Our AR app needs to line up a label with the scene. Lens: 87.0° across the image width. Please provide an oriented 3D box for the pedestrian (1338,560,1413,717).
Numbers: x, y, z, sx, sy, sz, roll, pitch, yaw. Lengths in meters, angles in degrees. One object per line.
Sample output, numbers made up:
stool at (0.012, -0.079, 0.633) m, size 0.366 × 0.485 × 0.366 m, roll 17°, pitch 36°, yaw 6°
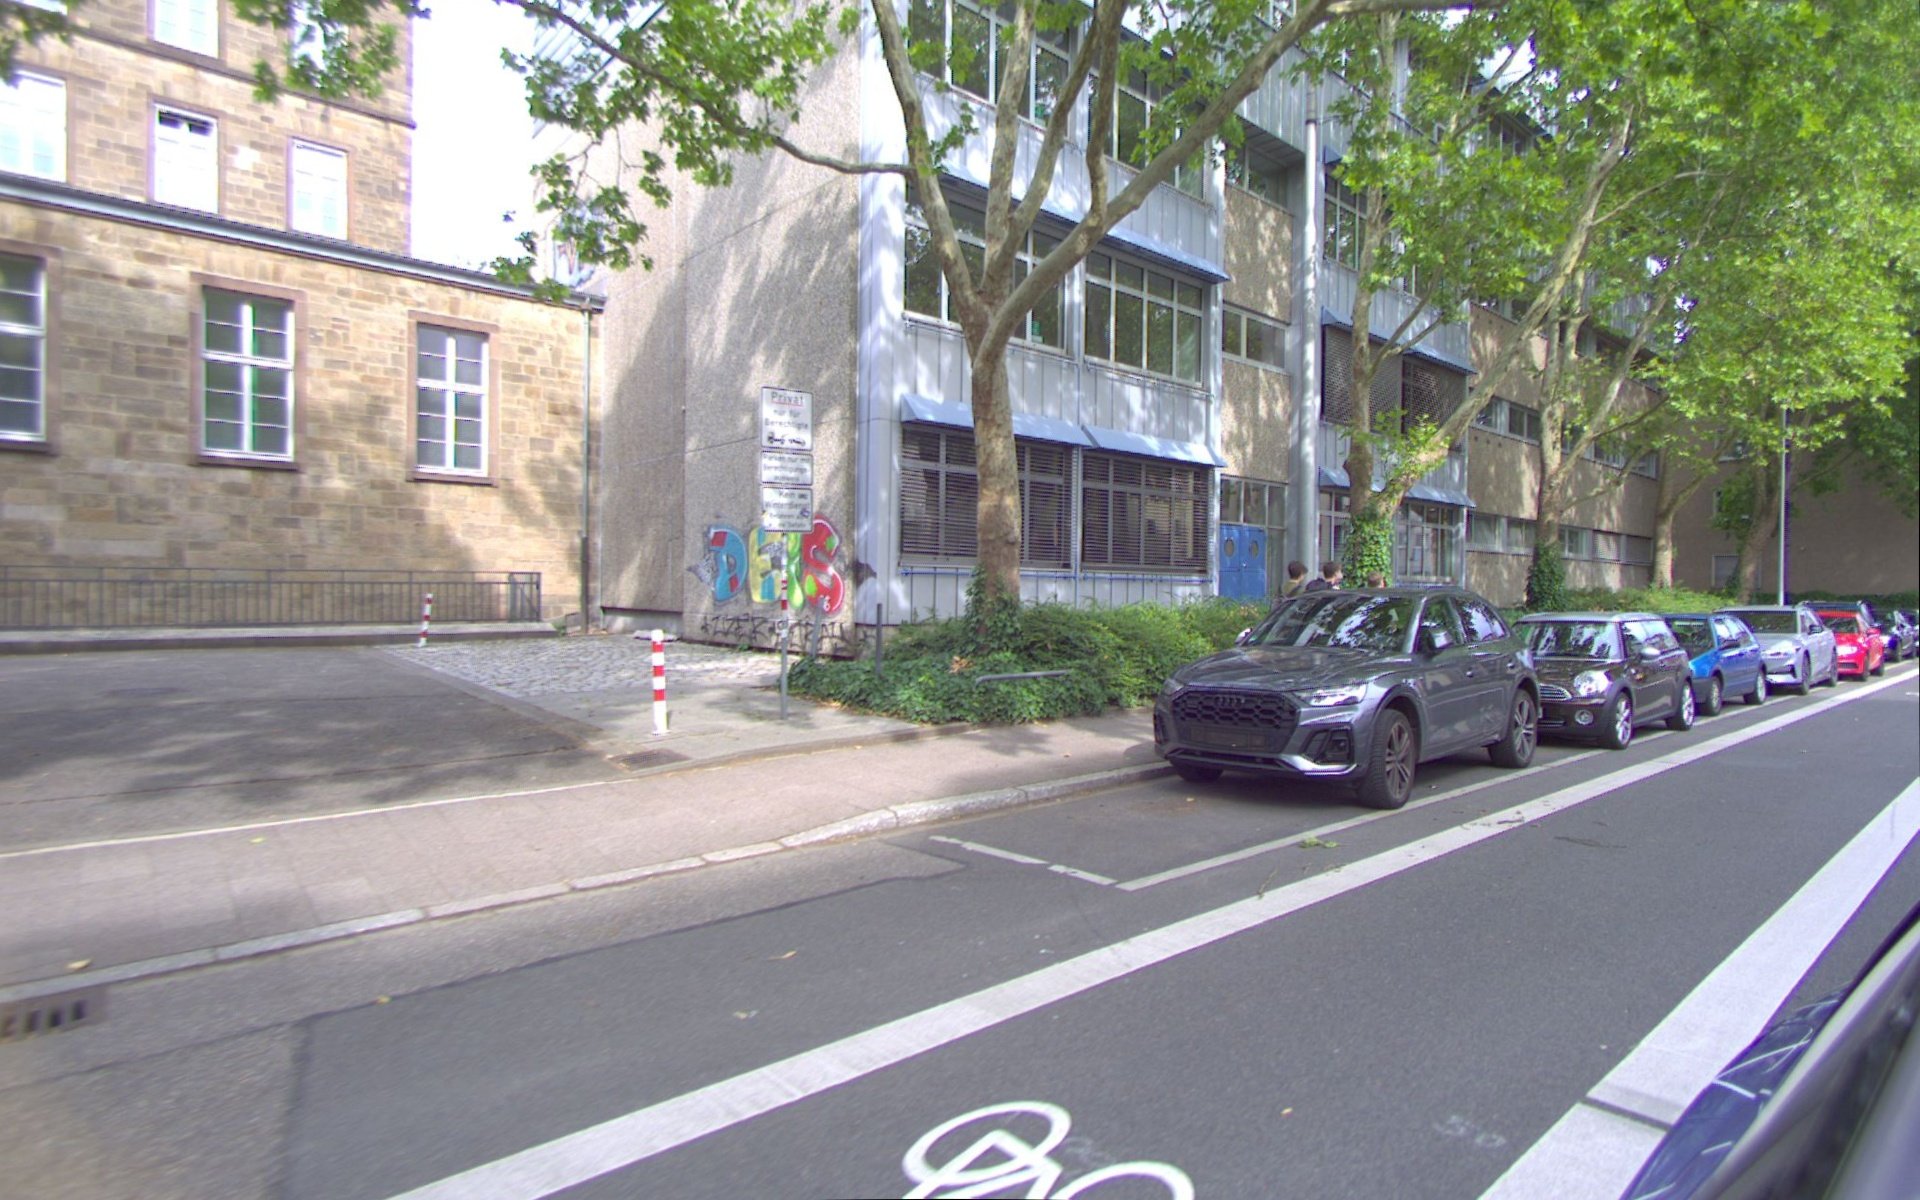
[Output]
pedestrian at (4.984, 0.439, 12.151) m, size 0.468 × 1.806 × 0.592 m, roll 0°, pitch 4°, yaw -42°

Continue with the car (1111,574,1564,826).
car at (3.464, 0.662, 8.828) m, size 4.405 × 1.642 × 1.923 m, roll 0°, pitch -1°, yaw -43°

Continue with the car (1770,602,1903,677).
car at (18.918, 0.783, 21.788) m, size 4.033 × 1.465 × 1.601 m, roll 0°, pitch -1°, yaw -41°

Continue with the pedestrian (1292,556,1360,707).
pedestrian at (4.535, 0.373, 12.554) m, size 0.518 × 1.806 × 0.502 m, roll 0°, pitch 4°, yaw -42°

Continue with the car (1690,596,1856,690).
car at (14.914, 0.703, 18.483) m, size 4.362 × 1.524 × 1.601 m, roll 0°, pitch -1°, yaw -41°

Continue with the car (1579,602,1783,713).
car at (10.849, 0.759, 15.127) m, size 3.887 × 1.441 × 1.601 m, roll 0°, pitch -1°, yaw -41°

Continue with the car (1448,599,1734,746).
car at (7.683, 0.727, 12.135) m, size 4.493 × 1.451 × 1.642 m, roll 0°, pitch -1°, yaw -41°

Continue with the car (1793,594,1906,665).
car at (22.822, 0.712, 25.930) m, size 3.730 × 1.686 × 1.650 m, roll 0°, pitch -1°, yaw -41°

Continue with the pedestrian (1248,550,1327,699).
pedestrian at (4.268, 0.294, 13.184) m, size 0.634 × 1.855 × 0.643 m, roll 0°, pitch 4°, yaw -42°

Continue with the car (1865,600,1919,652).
car at (29.803, 0.772, 31.760) m, size 3.887 × 1.545 × 1.601 m, roll 0°, pitch -1°, yaw -41°

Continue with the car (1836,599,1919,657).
car at (26.294, 0.752, 28.740) m, size 3.887 × 1.545 × 1.601 m, roll 0°, pitch -1°, yaw -41°
